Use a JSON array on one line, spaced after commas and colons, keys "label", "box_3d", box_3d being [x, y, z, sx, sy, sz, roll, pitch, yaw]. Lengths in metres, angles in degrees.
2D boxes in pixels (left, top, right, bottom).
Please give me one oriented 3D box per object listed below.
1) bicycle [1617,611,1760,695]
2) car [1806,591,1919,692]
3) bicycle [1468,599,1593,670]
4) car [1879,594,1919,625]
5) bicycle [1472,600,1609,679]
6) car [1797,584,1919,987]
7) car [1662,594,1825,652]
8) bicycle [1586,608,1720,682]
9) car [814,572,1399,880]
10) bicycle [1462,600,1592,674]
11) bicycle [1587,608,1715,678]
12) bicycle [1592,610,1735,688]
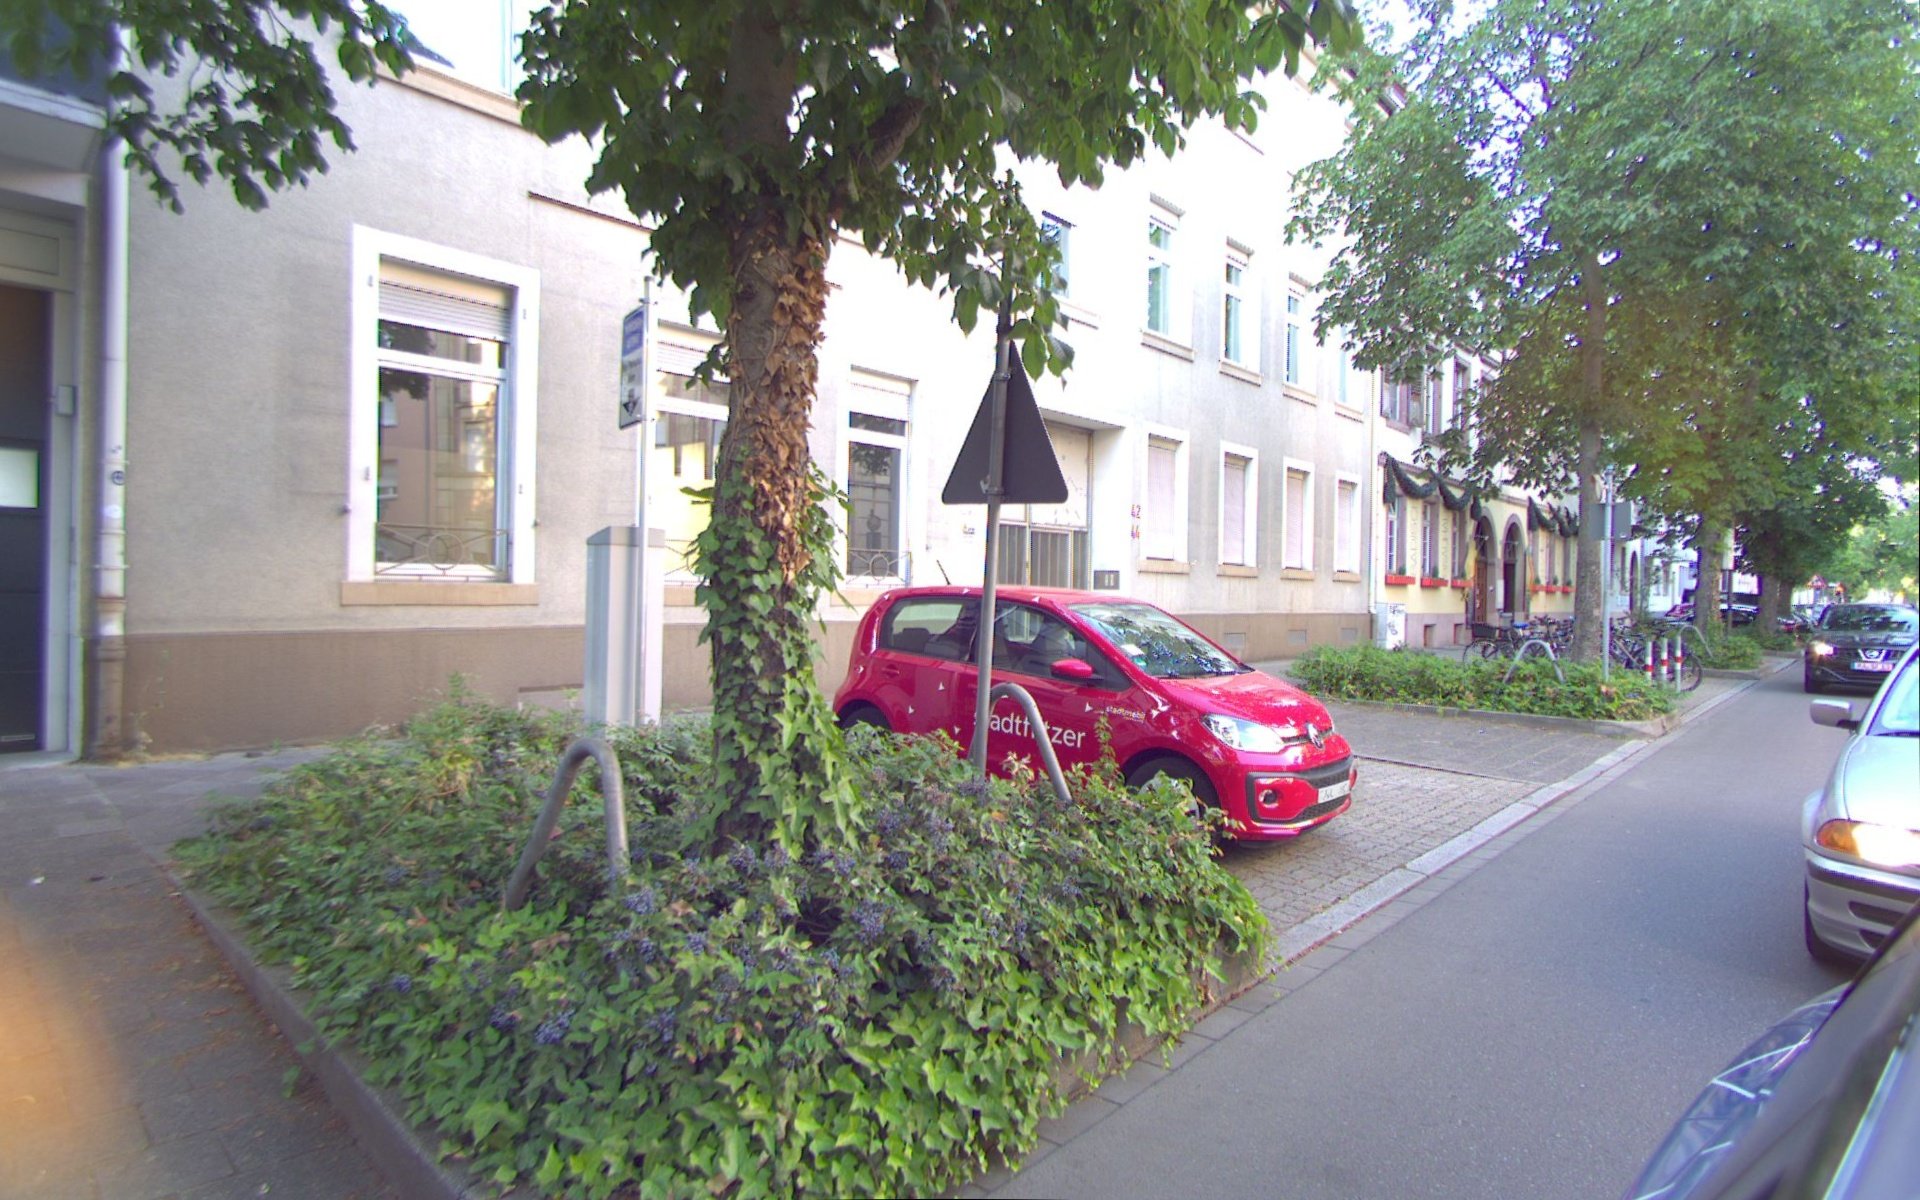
[{"label": "bicycle", "box_3d": [11.851, 0.829, 16.534, 1.835, 1.242, 0.529, 2, 1, 33]}, {"label": "car", "box_3d": [16.176, 0.648, 17.681, 1.802, 1.571, 3.935, 2, 1, 45]}, {"label": "bicycle", "box_3d": [10.930, 0.635, 19.427, 2.017, 1.242, 0.529, 2, 1, 37]}, {"label": "car", "box_3d": [50.723, 0.492, 54.413, 1.802, 1.571, 3.936, 2, 1, 44]}, {"label": "bicycle", "box_3d": [10.083, 0.656, 17.623, 2.014, 1.242, 0.529, 2, 1, 33]}, {"label": "car", "box_3d": [5.464, 0.687, 4.713, 4.358, 1.460, 1.710, 0, 1, -41]}, {"label": "car", "box_3d": [26.613, 0.727, 34.453, 4.232, 1.761, 1.715, 2, 1, 43]}, {"label": "bicycle", "box_3d": [12.989, 0.816, 19.014, 2.019, 1.242, 0.528, 2, 1, 39]}, {"label": "car", "box_3d": [0.809, 0.587, 6.818, 3.608, 1.495, 1.639, 2, 1, 42]}, {"label": "bicycle", "box_3d": [10.299, 0.648, 18.433, 2.014, 1.242, 0.529, 2, 1, 33]}, {"label": "bicycle", "box_3d": [13.470, 0.806, 19.767, 2.019, 1.242, 0.528, 2, 1, 39]}, {"label": "bicycle", "box_3d": [12.354, 0.830, 17.820, 2.019, 1.242, 0.528, 2, 1, 39]}]
